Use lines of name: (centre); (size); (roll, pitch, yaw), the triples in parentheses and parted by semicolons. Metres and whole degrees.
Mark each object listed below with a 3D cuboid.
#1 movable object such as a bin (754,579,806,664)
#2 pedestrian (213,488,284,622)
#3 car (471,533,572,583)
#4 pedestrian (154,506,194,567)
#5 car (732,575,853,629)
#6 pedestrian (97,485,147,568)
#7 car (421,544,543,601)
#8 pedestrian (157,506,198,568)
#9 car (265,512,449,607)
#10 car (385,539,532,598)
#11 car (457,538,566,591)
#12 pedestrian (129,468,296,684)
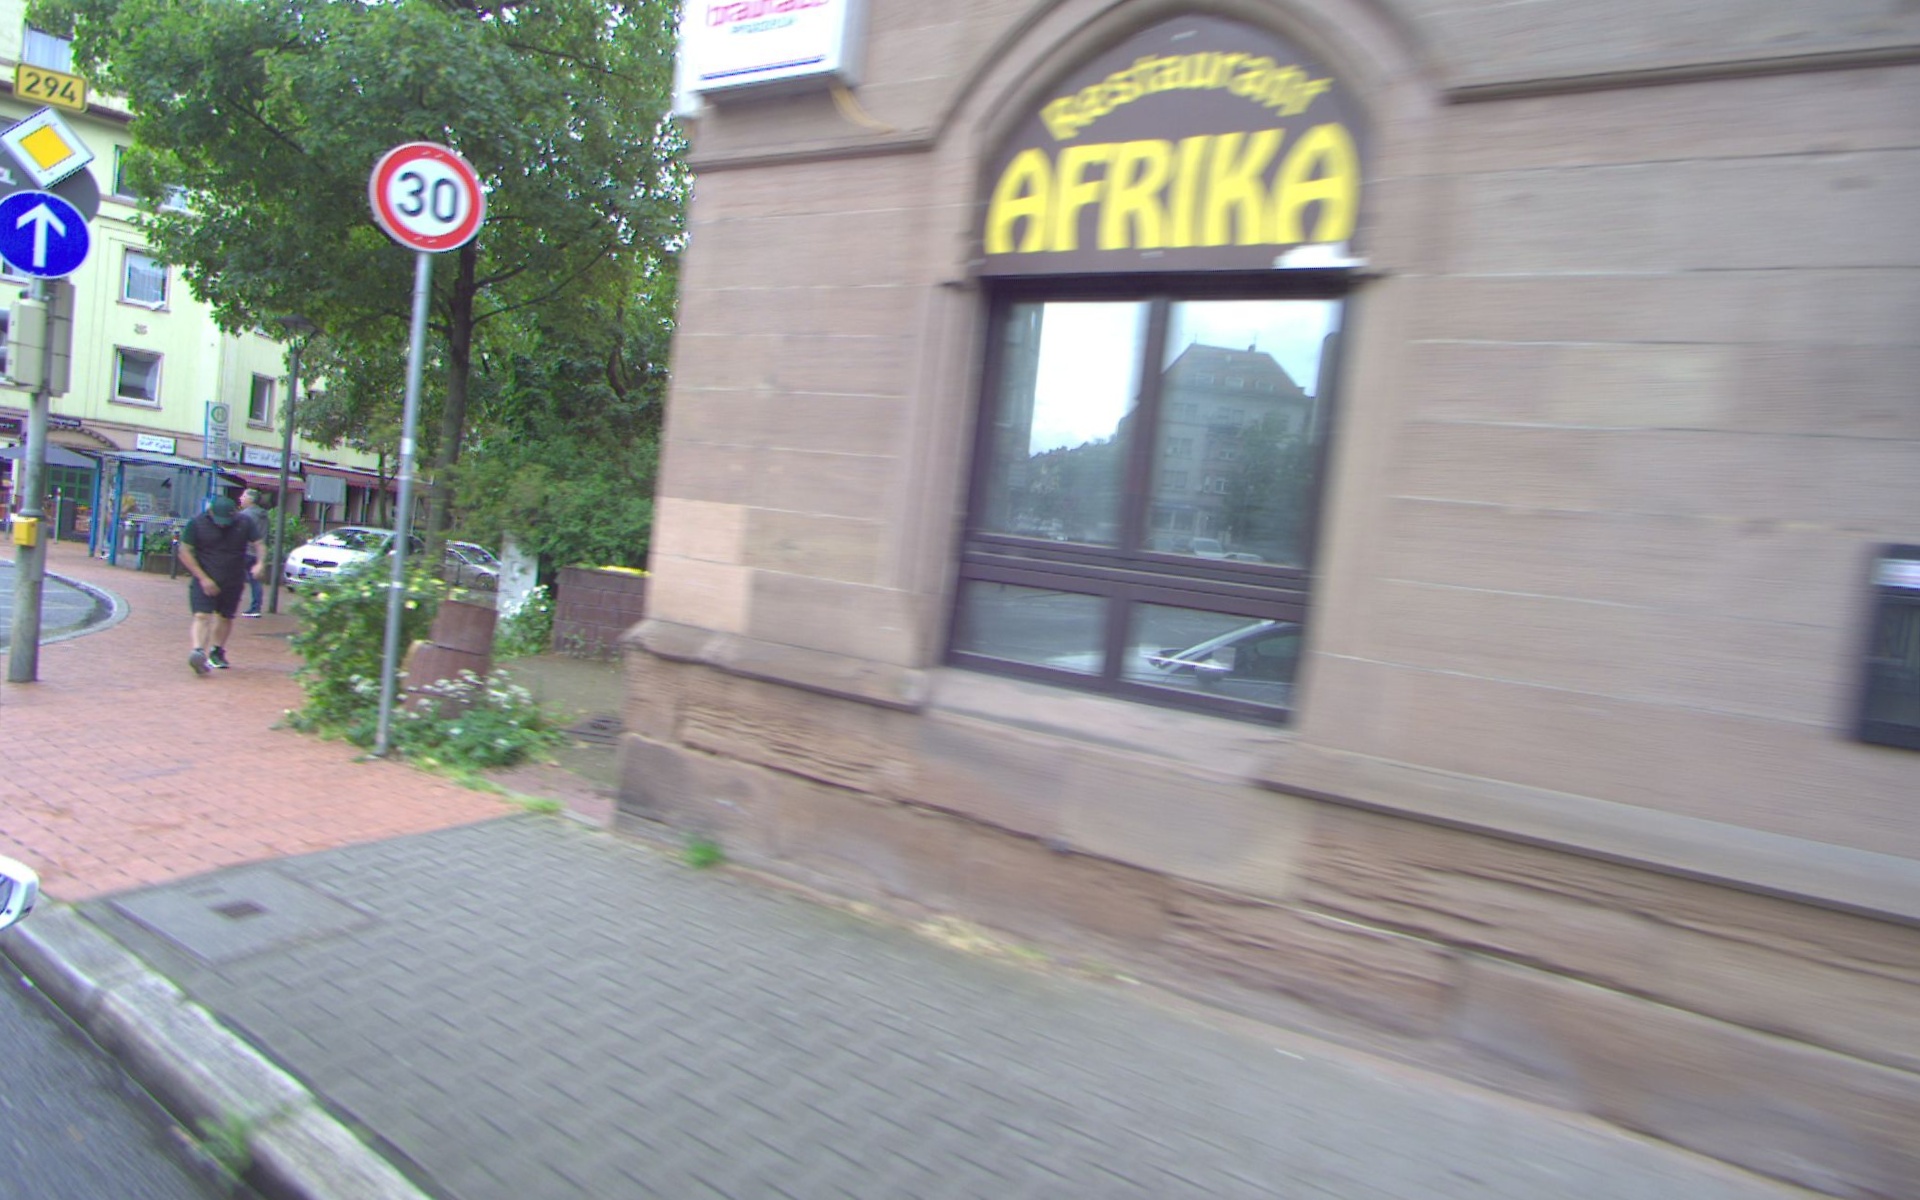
movable object such as a bin: (-2.433, 0.288, 13.651); (0.527, 1.070, 0.575); (7, 0, -5)
pedestrian: (-9.875, -0.623, 13.989); (0.567, 1.755, 0.726); (7, 0, -31)
car: (-21.413, -2.028, 49.237); (3.928, 1.810, 1.792); (8, 0, -3)
pedestrian: (-17.691, -1.429, 22.638); (0.567, 1.295, 0.611); (7, 0, -41)
car: (-5.897, 0.071, 35.766); (3.926, 1.547, 1.876); (5, 0, -3)
pedestrian: (-19.120, -1.655, 22.967); (0.552, 1.797, 0.543); (7, 0, -18)
car: (-19.470, -1.105, 41.111); (3.928, 1.748, 1.792); (8, 0, -3)
pedestrian: (-17.260, -1.390, 22.192); (0.567, 1.295, 0.528); (7, 0, -41)
car: (-12.803, -0.776, 21.635); (1.740, 1.519, 3.675); (9, -2, -4)
car: (-19.195, -1.179, 38.627); (4.565, 1.546, 1.792); (8, 0, -3)
car: (-20.194, -1.576, 45.408); (3.928, 1.748, 1.792); (8, 0, -3)
pedestrian: (-6.487, -0.197, 8.791); (0.820, 1.699, 0.889); (7, 0, -23)
